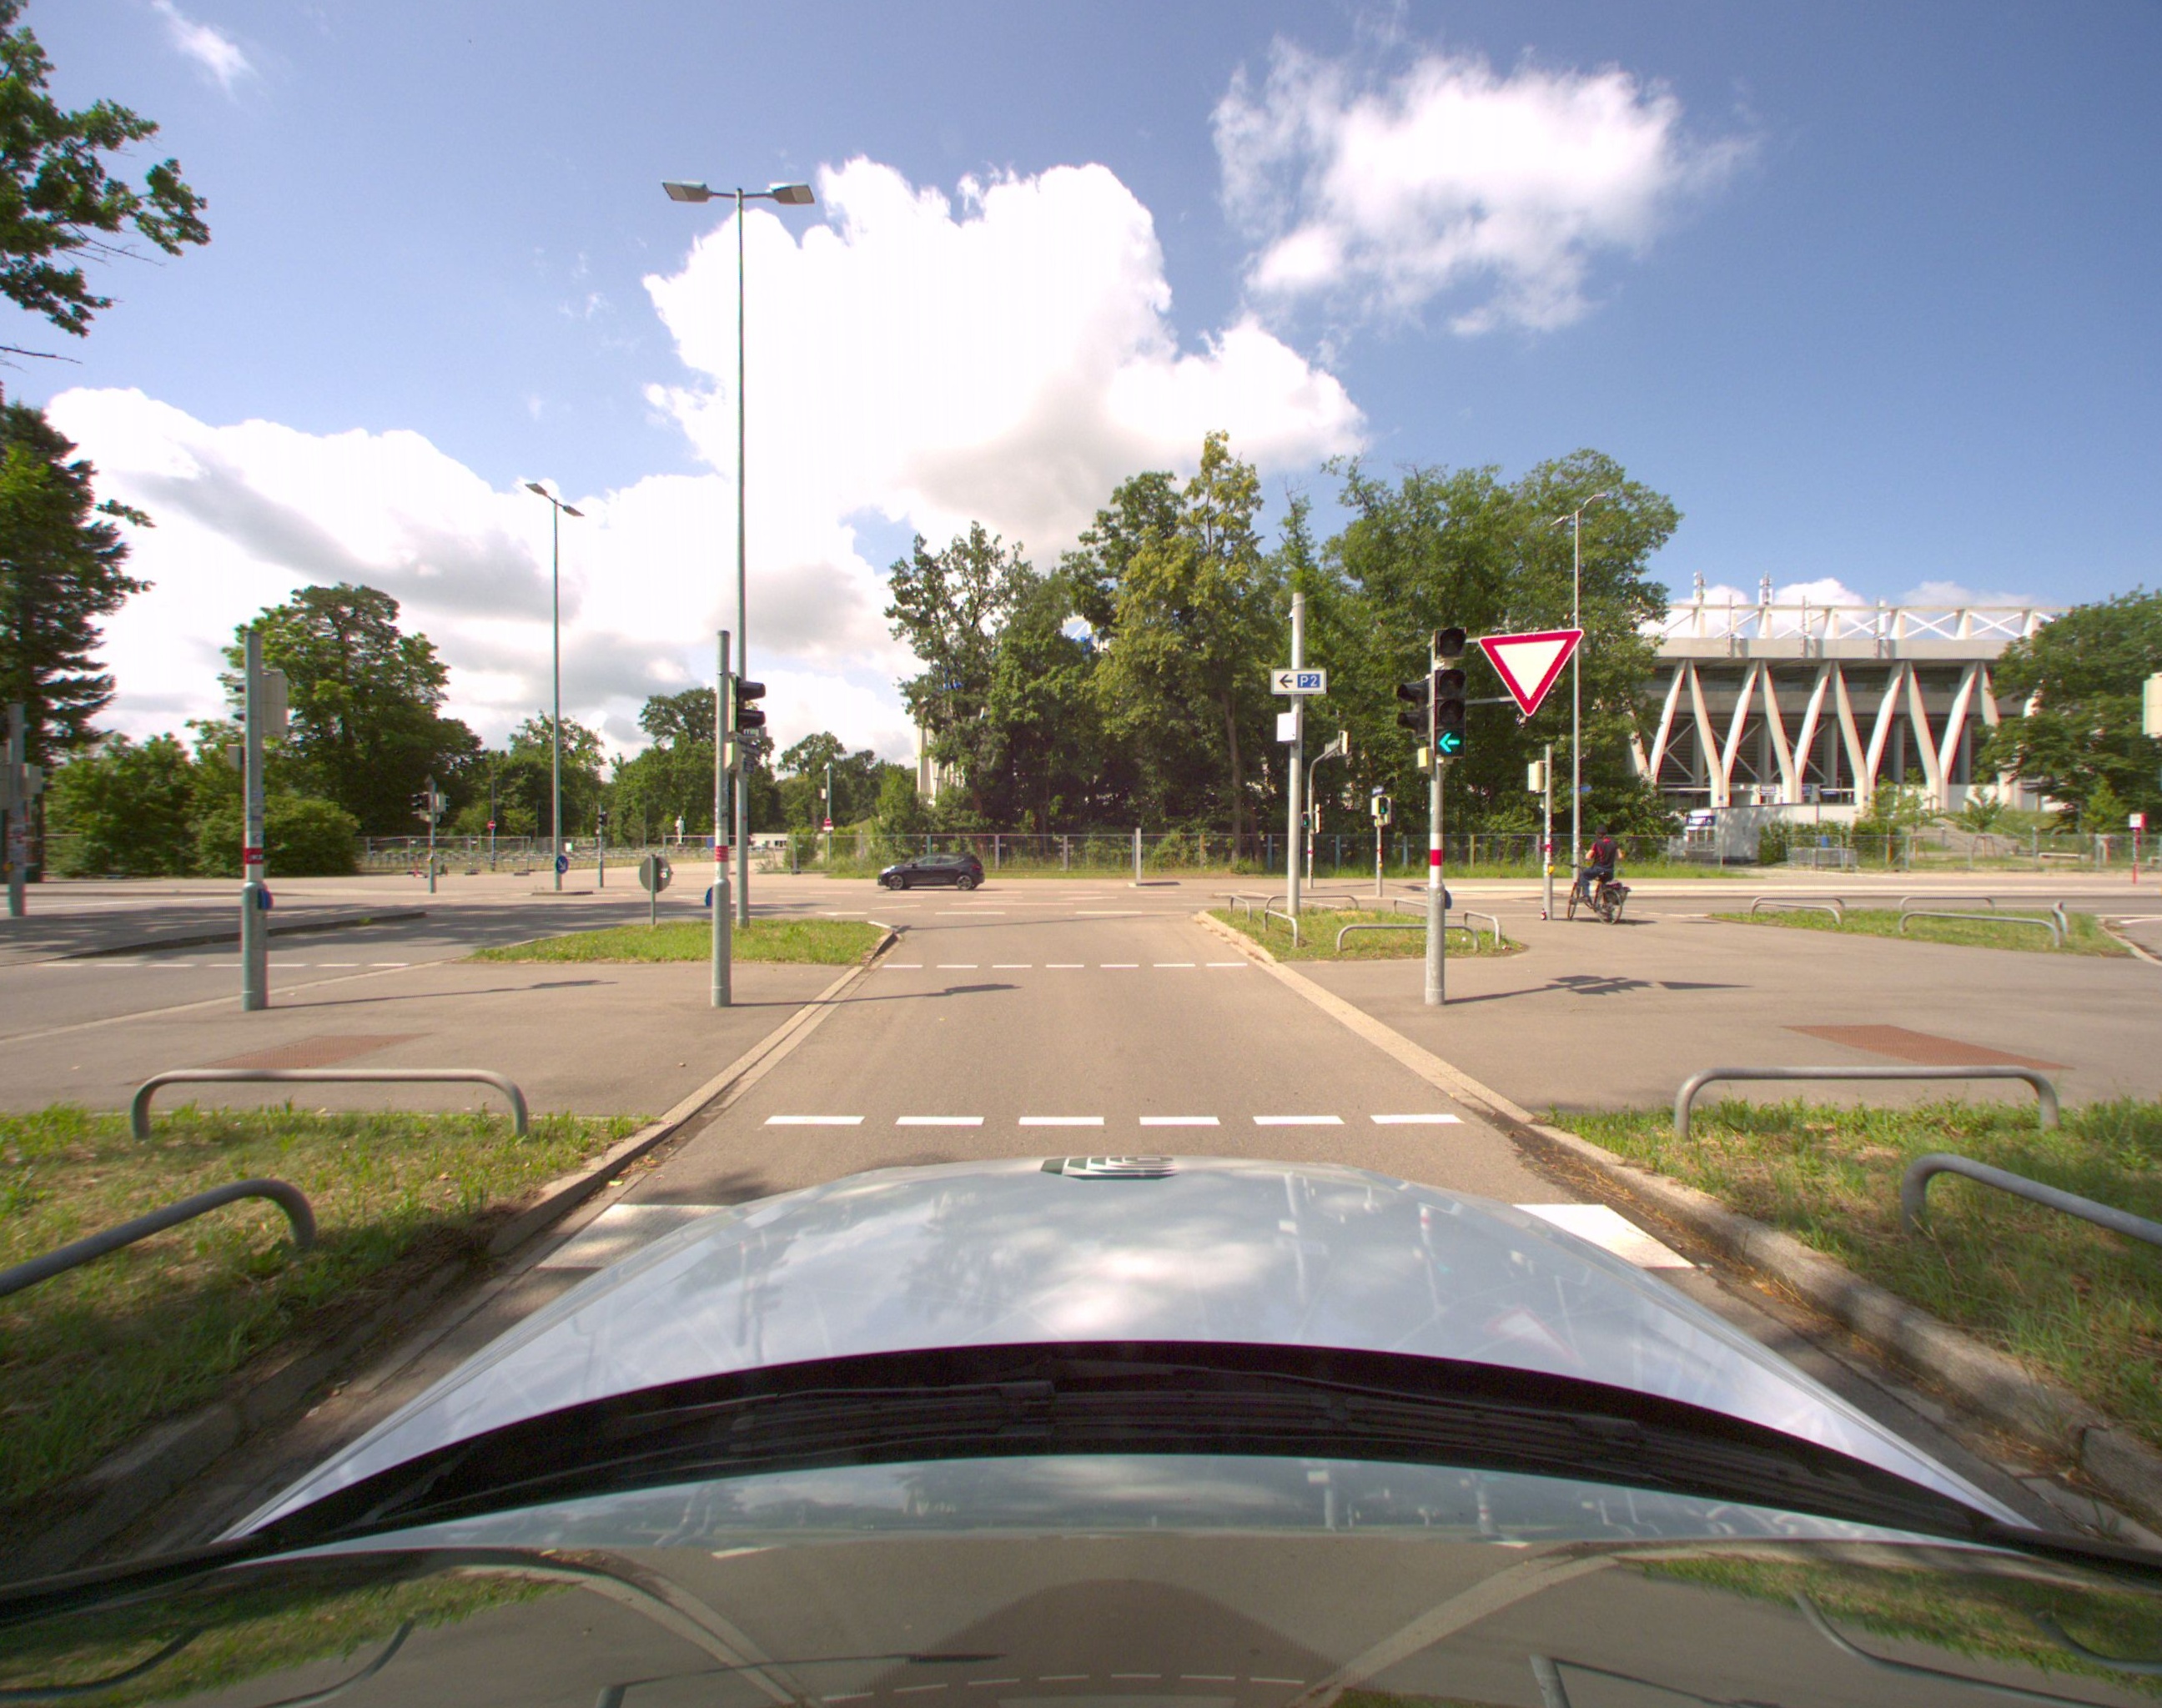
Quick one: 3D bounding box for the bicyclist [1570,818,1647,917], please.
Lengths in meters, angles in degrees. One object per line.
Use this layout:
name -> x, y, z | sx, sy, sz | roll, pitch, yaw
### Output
bicyclist -> 9.919, 0.256, 15.346 | 0.879, 1.798, 0.981 | -1, -1, 10

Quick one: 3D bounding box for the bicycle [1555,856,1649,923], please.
bicycle -> 9.960, 0.652, 15.660 | 0.875, 1.206, 1.903 | -1, -1, 11

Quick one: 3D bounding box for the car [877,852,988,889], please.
car -> -5.657, 0.631, 31.304 | 3.948, 1.378, 1.603 | 0, -1, 1

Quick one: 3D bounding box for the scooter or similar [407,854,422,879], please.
scooter or similar -> -32.507, 0.588, 39.708 | 1.295, 1.200, 0.410 | 1, 1, 44
